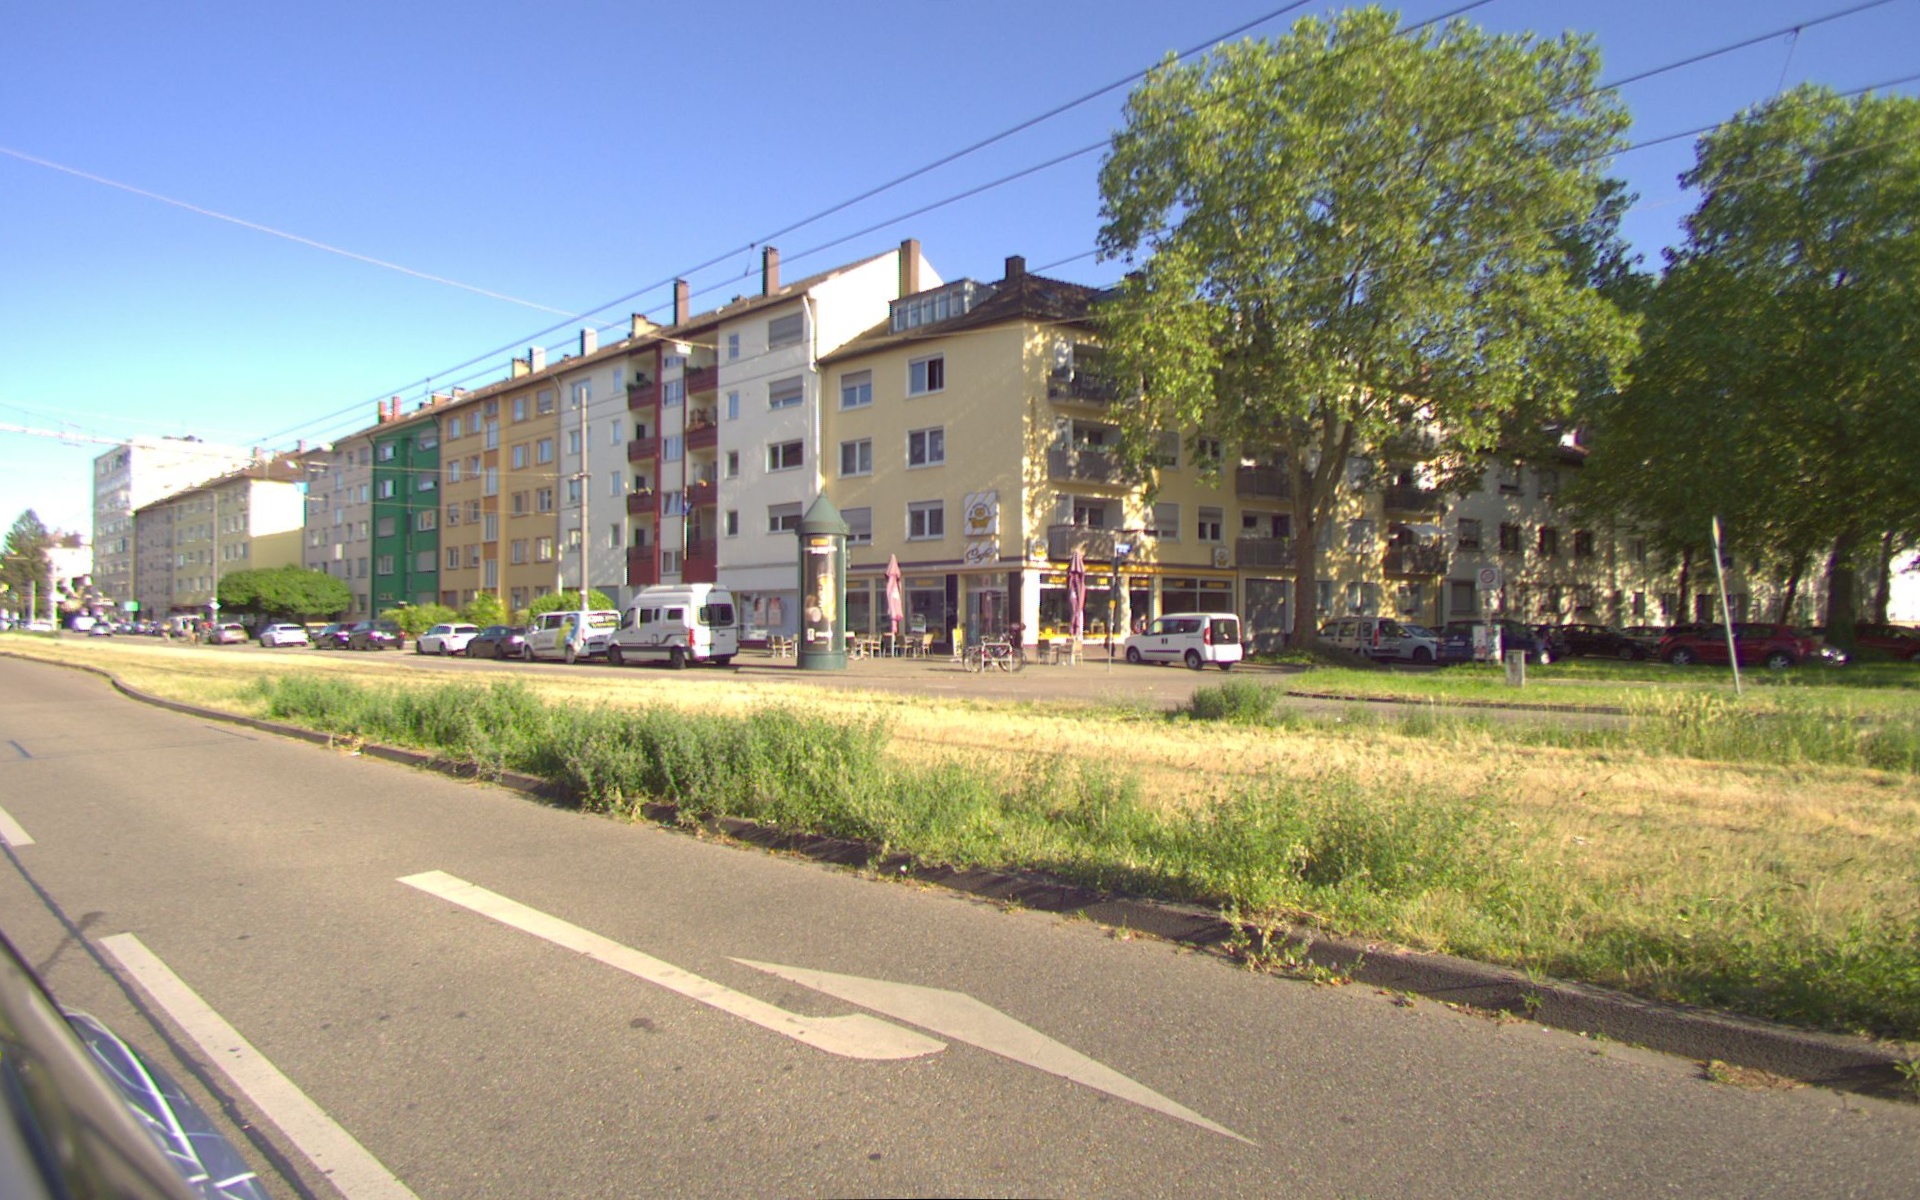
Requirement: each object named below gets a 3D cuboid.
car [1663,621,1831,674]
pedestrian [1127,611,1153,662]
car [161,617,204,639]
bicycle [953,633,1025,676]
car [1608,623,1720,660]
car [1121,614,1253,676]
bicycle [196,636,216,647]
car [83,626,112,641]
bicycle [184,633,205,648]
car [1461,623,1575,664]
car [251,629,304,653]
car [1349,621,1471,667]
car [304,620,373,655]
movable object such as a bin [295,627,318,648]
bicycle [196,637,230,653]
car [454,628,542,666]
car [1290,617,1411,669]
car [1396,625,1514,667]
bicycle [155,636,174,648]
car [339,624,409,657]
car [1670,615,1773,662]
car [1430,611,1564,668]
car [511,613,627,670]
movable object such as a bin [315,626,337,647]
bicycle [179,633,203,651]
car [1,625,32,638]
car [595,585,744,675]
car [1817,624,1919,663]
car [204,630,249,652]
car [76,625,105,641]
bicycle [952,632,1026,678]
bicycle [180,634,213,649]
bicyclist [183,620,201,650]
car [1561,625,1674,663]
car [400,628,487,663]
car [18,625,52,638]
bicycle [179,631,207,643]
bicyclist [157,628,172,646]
[{"bbox_3d":[23.667,1.387,30.549,1.618,1.391,3.659,-2,1,-32],"label":"car"},{"bbox_3d":[6.639,1.340,37.406,0.830,1.798,0.687,-2,0,6],"label":"pedestrian"},{"bbox_3d":[-76.433,2.745,99.488,5.492,1.964,1.975,-1,1,38],"label":"car"},{"bbox_3d":[0.854,1.589,29.512,2.065,1.193,0.518,0,1,7],"label":"bicycle"},{"bbox_3d":[34.456,2.028,49.635,1.966,1.677,4.074,2,-1,-29],"label":"car"},{"bbox_3d":[7.571,1.445,34.021,1.967,1.840,4.010,-2,1,-35],"label":"car"},{"bbox_3d":[-57.190,3.152,76.761,2.046,0.872,0.374,-2,0,30],"label":"bicycle"},{"bbox_3d":[-86.283,3.348,101.215,4.216,1.459,1.676,-1,-3,42],"label":"car"},{"bbox_3d":[-57.567,3.029,76.068,1.928,1.101,0.506,-2,0,30],"label":"bicycle"},{"bbox_3d":[24.399,1.871,44.392,1.850,1.626,4.012,3,-2,-29],"label":"car"},{"bbox_3d":[-43.103,2.568,63.918,4.374,1.465,1.711,-1,-1,41],"label":"car"},{"bbox_3d":[17.939,1.731,40.527,1.966,1.677,4.074,2,-1,-29],"label":"car"},{"bbox_3d":[-35.113,2.102,57.148,4.607,1.851,1.973,-1,0,41],"label":"car"},{"bbox_3d":[-46.801,2.673,72.480,1.039,1.378,1.134,-1,1,43],"label":"movable object such as a bin"},{"bbox_3d":[-57.425,3.435,77.830,2.019,1.101,0.617,-2,0,-22],"label":"bicycle"},{"bbox_3d":[-19.971,1.983,43.711,4.321,1.526,1.678,-1,-1,38],"label":"car"},{"bbox_3d":[15.095,1.645,39.314,1.966,1.857,4.012,3,-2,-29],"label":"car"},{"bbox_3d":[20.337,1.870,41.747,1.850,1.582,4.012,3,-2,-29],"label":"car"},{"bbox_3d":[-60.441,3.187,76.874,2.068,0.886,0.760,-1,-4,41],"label":"bicycle"},{"bbox_3d":[-31.213,2.121,53.884,4.149,1.620,1.973,-1,1,41],"label":"car"},{"bbox_3d":[29.172,1.459,38.750,3.932,1.697,1.755,1,-2,-31],"label":"car"},{"bbox_3d":[16.246,1.180,30.582,3.932,1.613,1.755,1,-2,-31],"label":"car"},{"bbox_3d":[-15.508,1.594,39.985,5.369,2.036,2.011,-1,1,42],"label":"car"},{"bbox_3d":[-45.995,2.639,73.394,1.039,1.378,1.134,-1,1,43],"label":"movable object such as a bin"},{"bbox_3d":[-51.776,2.842,68.128,2.473,1.155,0.760,-1,-4,41],"label":"bicycle"},{"bbox_3d":[-108.432,3.643,116.342,4.406,1.540,1.767,-2,-3,36],"label":"car"},{"bbox_3d":[-10.305,1.023,35.523,6.226,2.890,2.011,-1,-1,42],"label":"car"},{"bbox_3d":[34.153,1.584,36.998,1.559,1.392,4.011,1,-2,-33],"label":"car"},{"bbox_3d":[-52.596,2.890,72.545,3.730,1.453,1.620,-1,0,39],"label":"car"},{"bbox_3d":[-114.061,4.301,132.726,4.664,1.912,1.974,-1,0,39],"label":"car"},{"bbox_3d":[0.828,1.571,28.948,2.065,1.261,0.518,0,0,7],"label":"bicycle"},{"bbox_3d":[-60.346,3.282,80.021,2.024,1.101,0.616,-2,1,-44],"label":"bicycle"},{"bbox_3d":[-51.829,2.353,68.307,0.648,2.029,0.765,-1,0,41],"label":"bicyclist"},{"bbox_3d":[31.170,2.067,48.082,1.966,1.677,4.074,2,-1,-29],"label":"car"},{"bbox_3d":[-24.186,2.084,47.357,4.698,1.503,1.874,-1,0,39],"label":"car"},{"bbox_3d":[-102.751,3.460,112.368,4.404,1.395,1.818,-1,-3,35],"label":"car"},{"bbox_3d":[-73.477,3.532,96.953,0.472,1.114,2.076,-1,1,41],"label":"bicycle"},{"bbox_3d":[-60.493,2.811,76.915,0.648,1.394,0.765,-1,-2,41],"label":"bicyclist"}]
